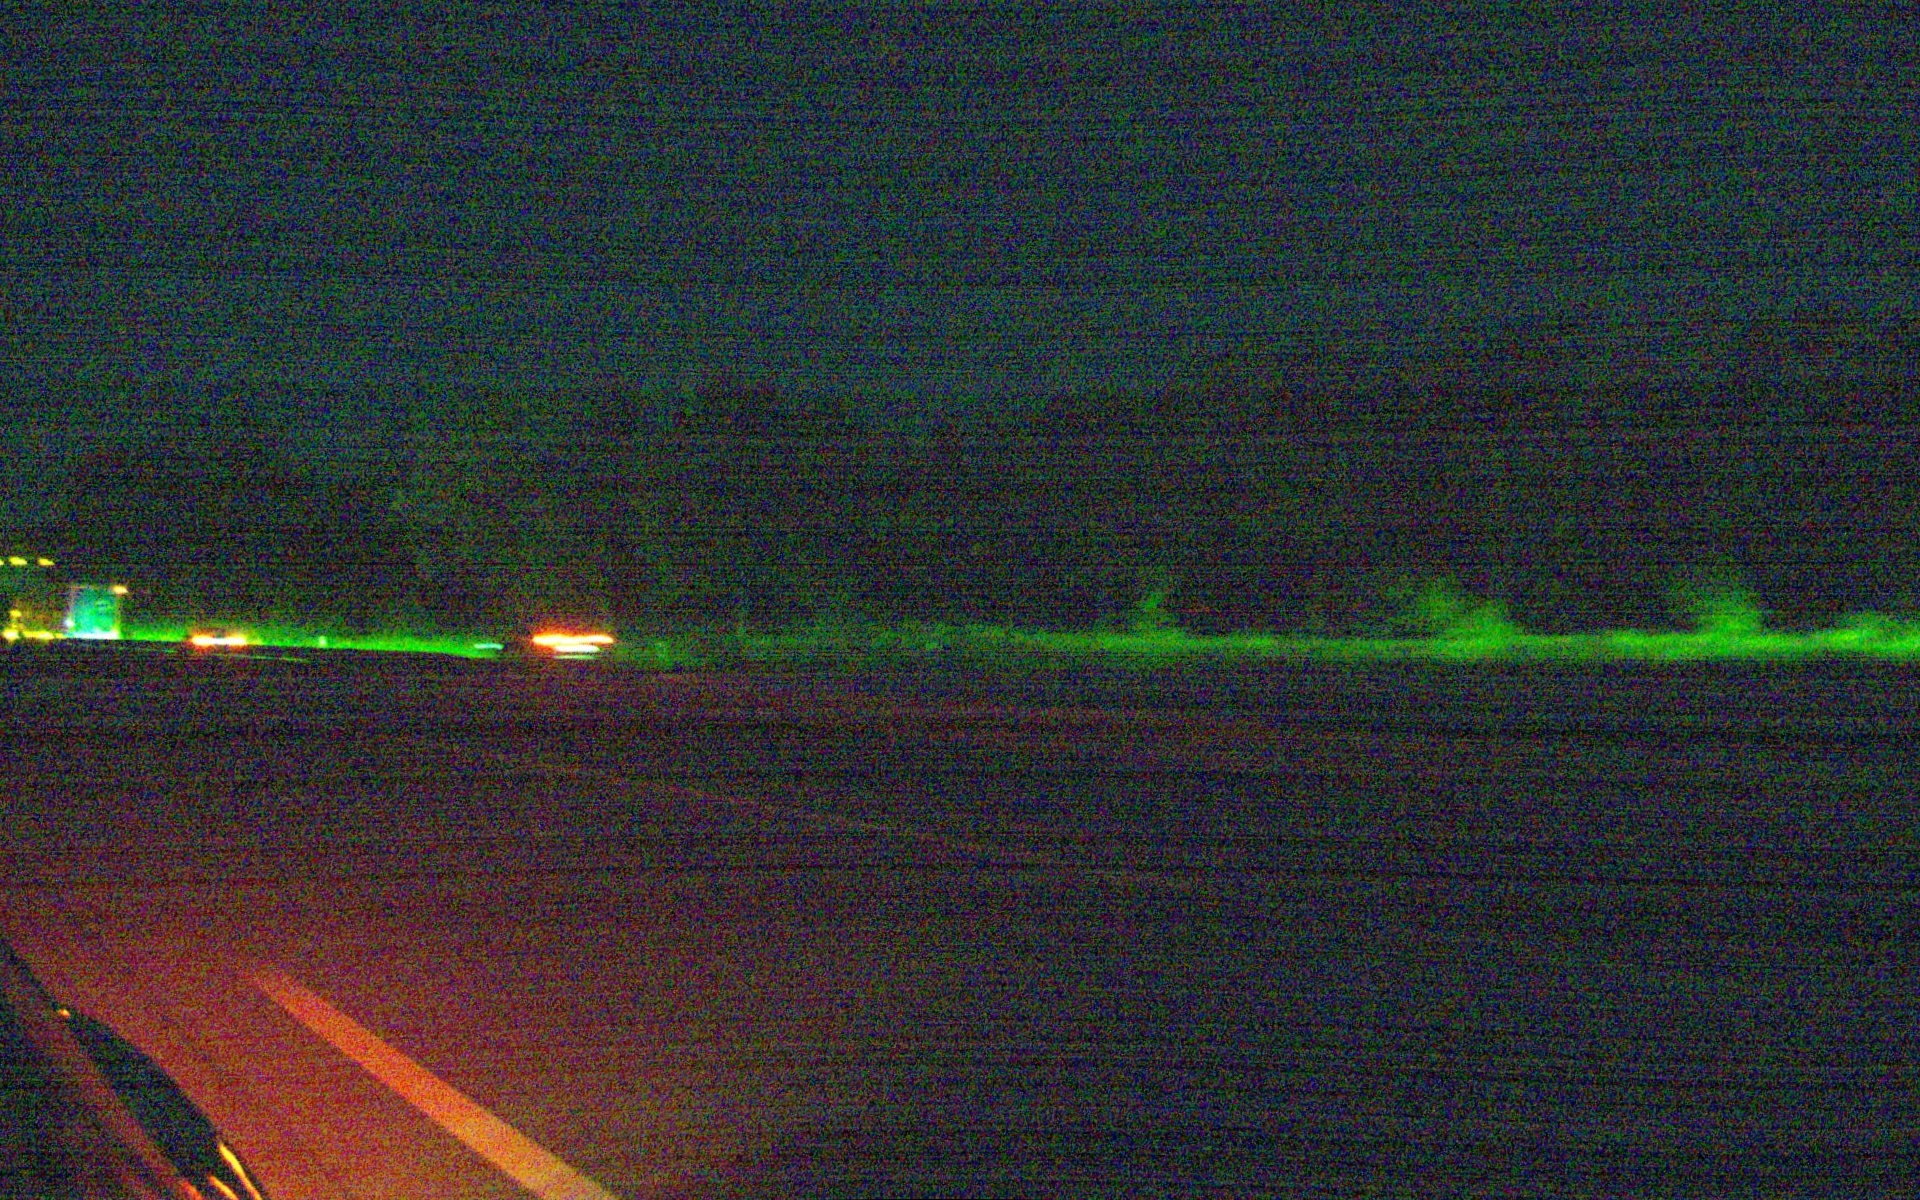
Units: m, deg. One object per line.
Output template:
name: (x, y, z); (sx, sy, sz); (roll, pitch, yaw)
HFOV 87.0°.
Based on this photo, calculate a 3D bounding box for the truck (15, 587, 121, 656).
truck: (-58.662, 1.404, 66.395); (13.890, 4.159, 2.719); (-1, -2, 38)

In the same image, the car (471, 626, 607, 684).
car: (-12.407, 1.563, 29.695); (4.292, 1.569, 1.973); (-1, -2, 41)

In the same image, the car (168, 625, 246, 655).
car: (-34.462, 1.805, 46.299); (4.292, 1.281, 1.973); (-1, -2, 41)

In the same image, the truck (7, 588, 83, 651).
truck: (-63.487, 1.381, 70.187); (6.665, 4.175, 2.746); (-1, -2, 38)
